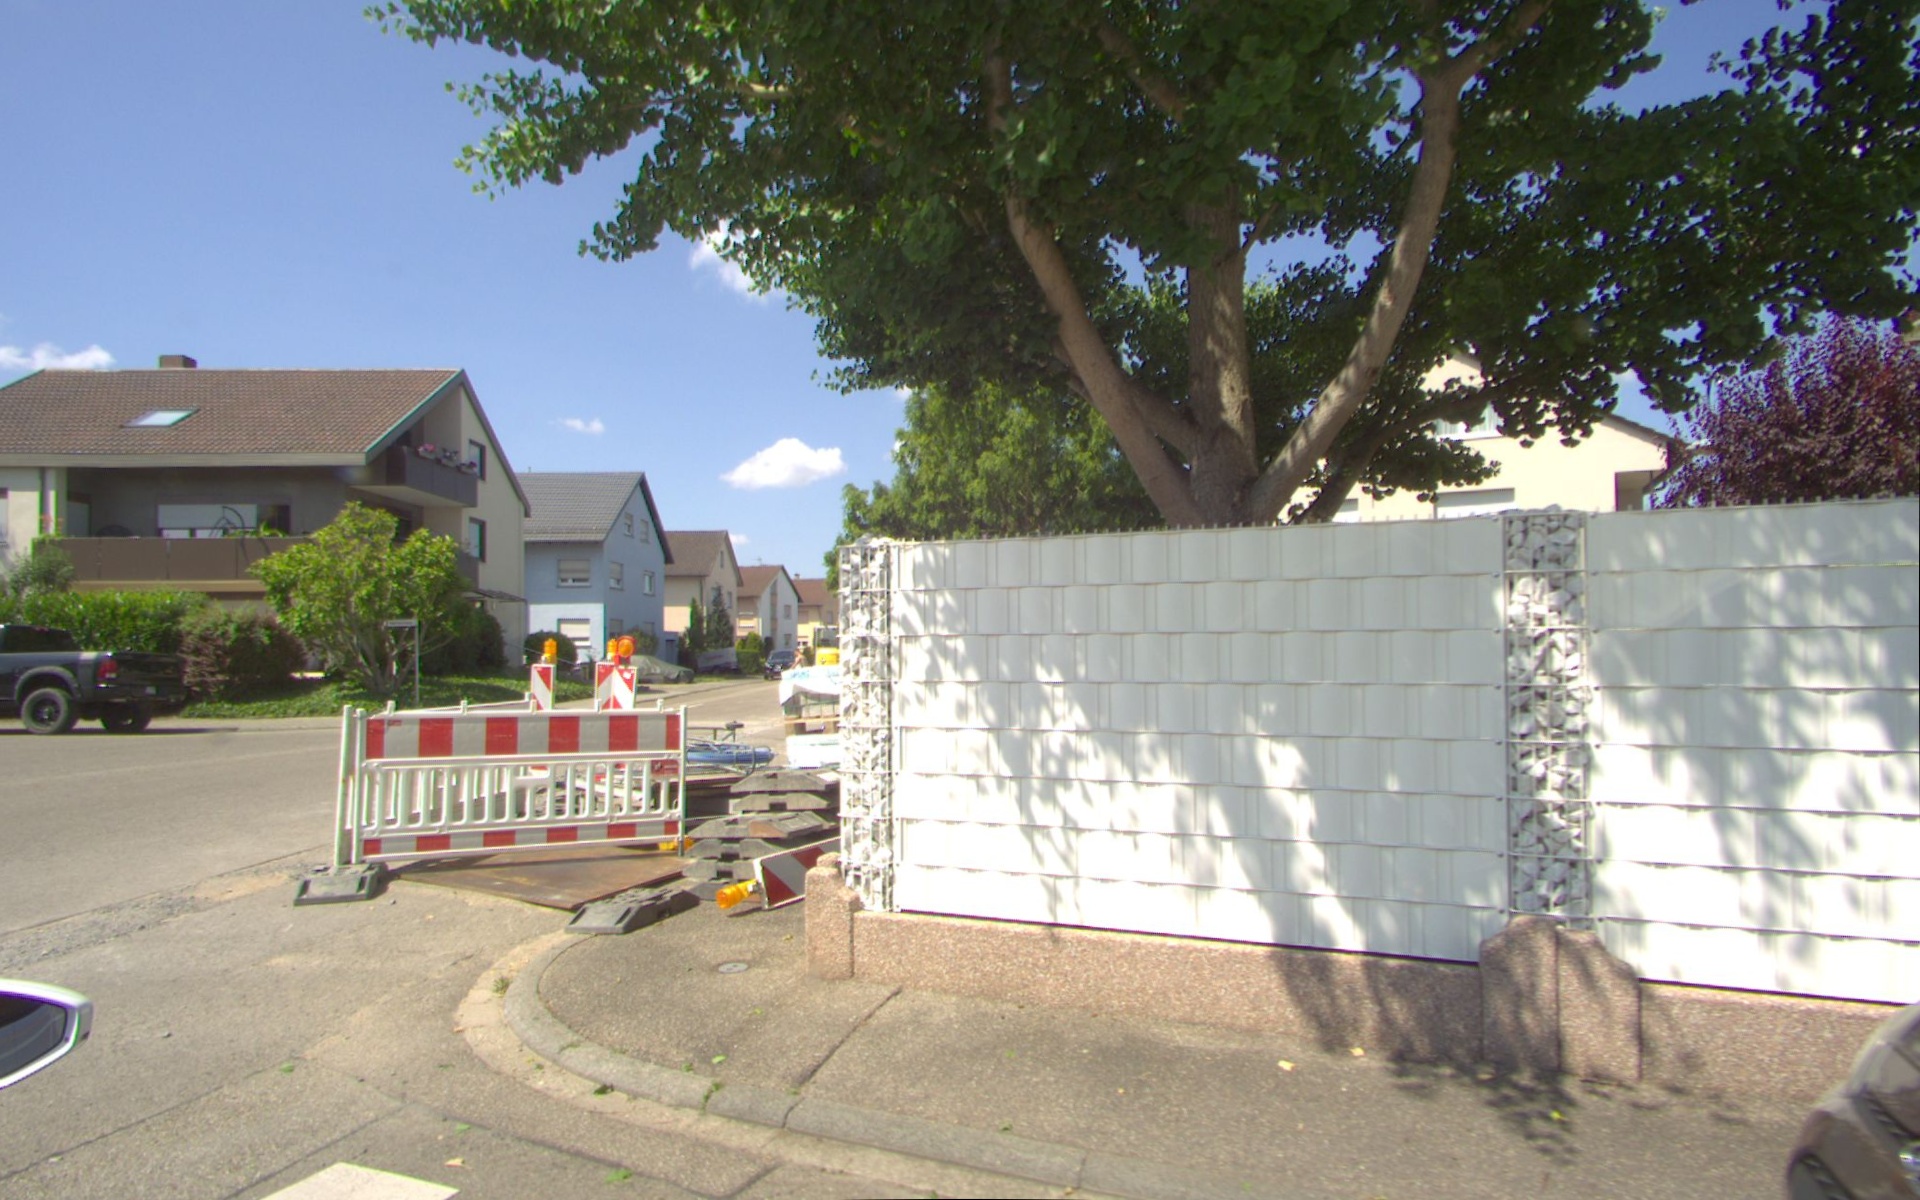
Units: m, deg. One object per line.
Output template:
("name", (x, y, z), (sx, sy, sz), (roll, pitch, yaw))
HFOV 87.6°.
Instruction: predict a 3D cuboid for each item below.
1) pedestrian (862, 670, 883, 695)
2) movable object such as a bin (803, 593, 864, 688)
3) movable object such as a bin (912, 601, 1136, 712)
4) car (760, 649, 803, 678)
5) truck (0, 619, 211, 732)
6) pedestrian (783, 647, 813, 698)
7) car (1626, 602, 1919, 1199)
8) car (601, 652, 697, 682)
("pedestrian", (-2.862, 2.702, 32.752), (0.515, 0.803, 0.429), (0, -2, -31))
("movable object such as a bin", (-5.024, 1.636, 40.263), (1.961, 3.610, 3.818), (0, -2, 0))
("movable object such as a bin", (1.523, 1.425, 24.516), (5.156, 2.481, 1.992), (-2, -5, 31))
("car", (-10.123, 3.585, 56.956), (1.883, 1.561, 4.003), (0, -3, -2))
("truck", (-18.215, 1.422, 19.323), (5.602, 2.039, 2.372), (0, -2, -4))
("pedestrian", (-4.924, 2.192, 30.419), (0.527, 1.533, 0.843), (1, -2, -42))
("car", (3.224, 0.772, 0.940), (3.965, 1.550, 1.717), (-1, -6, 20))
("car", (-14.625, 3.134, 47.198), (3.922, 1.358, 2.001), (0, -2, -3))
